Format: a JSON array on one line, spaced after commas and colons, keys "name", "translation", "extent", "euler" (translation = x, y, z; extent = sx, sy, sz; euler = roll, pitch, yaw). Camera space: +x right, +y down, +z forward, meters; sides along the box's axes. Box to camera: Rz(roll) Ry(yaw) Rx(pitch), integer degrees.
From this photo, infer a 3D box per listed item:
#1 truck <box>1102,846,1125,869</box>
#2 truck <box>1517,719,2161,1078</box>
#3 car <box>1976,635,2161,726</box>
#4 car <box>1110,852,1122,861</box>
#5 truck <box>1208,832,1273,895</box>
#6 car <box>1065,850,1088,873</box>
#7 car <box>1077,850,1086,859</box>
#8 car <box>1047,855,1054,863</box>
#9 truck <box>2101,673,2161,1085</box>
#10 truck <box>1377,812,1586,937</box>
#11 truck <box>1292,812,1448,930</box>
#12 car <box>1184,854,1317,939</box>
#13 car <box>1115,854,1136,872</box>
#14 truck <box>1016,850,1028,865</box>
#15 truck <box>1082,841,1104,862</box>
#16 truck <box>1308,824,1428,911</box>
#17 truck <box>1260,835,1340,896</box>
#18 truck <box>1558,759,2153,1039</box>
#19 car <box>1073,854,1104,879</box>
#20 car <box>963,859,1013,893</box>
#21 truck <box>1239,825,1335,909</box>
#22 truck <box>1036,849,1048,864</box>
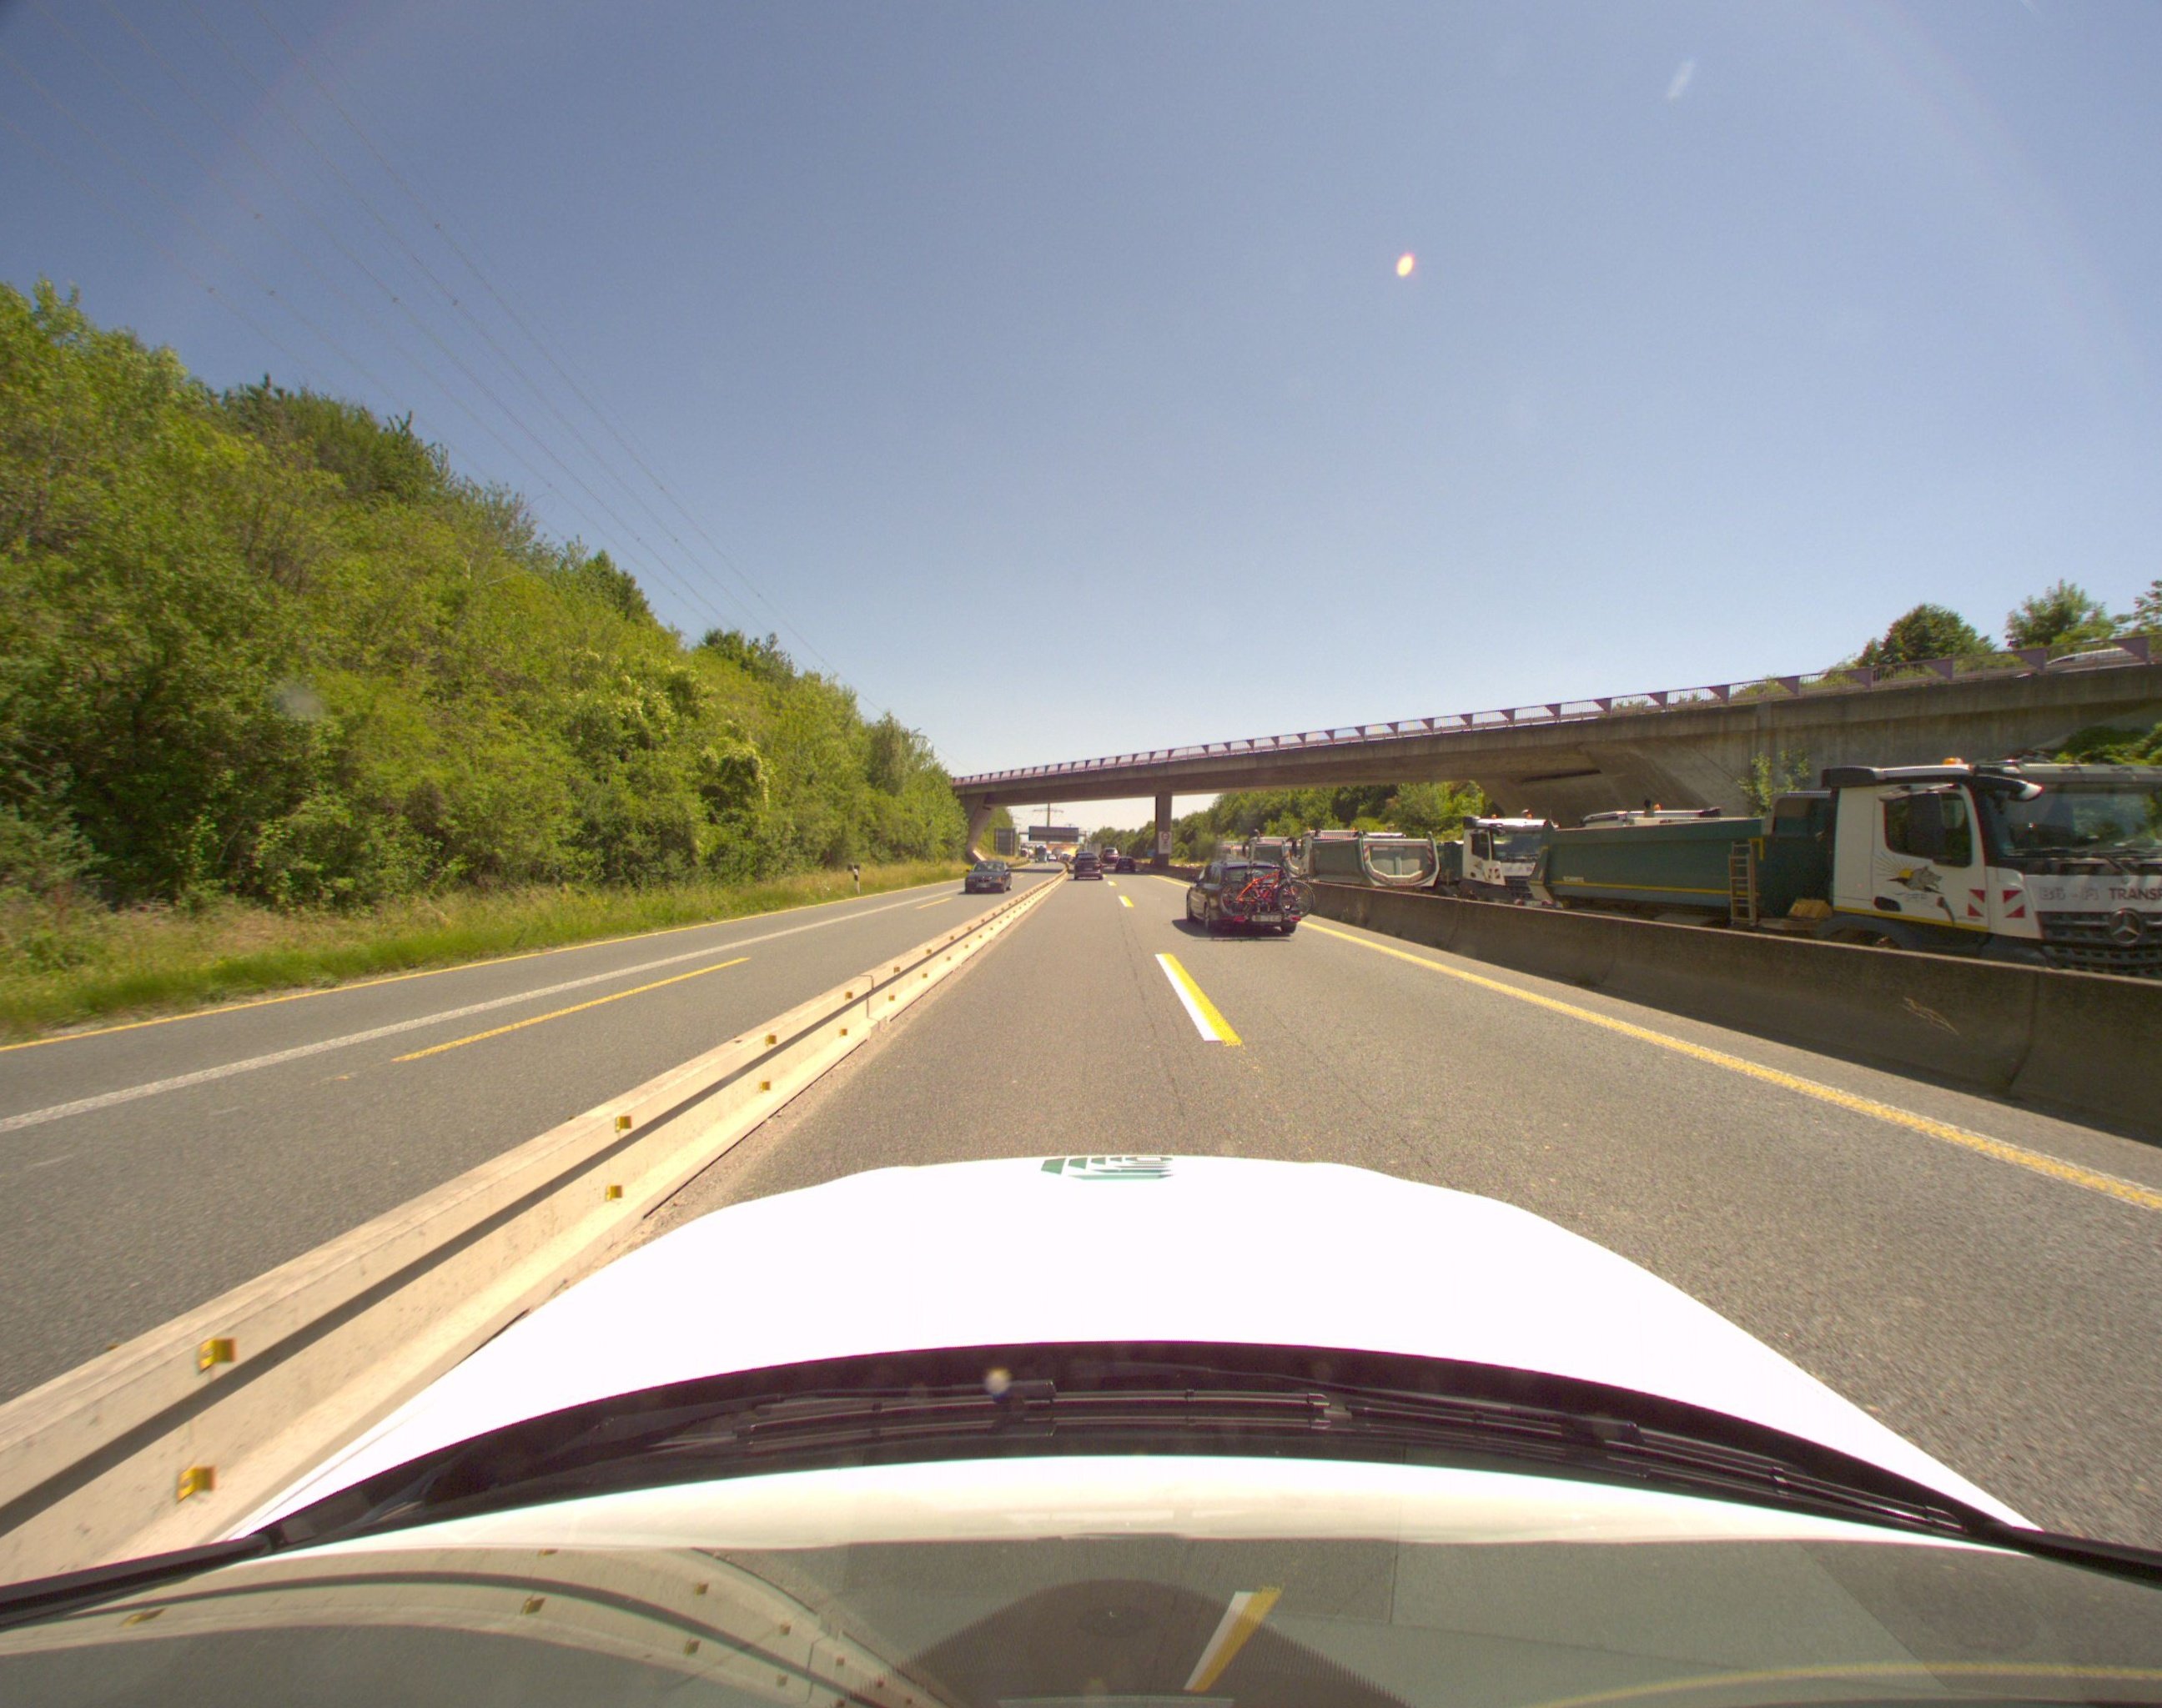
[{"name": "truck", "translation": [3.643, 0.377, 93.781], "extent": [2.397, 2.558, 7.500], "euler": [0, 0, 0]}, {"name": "truck", "translation": [10.605, 0.445, 12.730], "extent": [2.678, 3.557, 9.325], "euler": [0, 0, 1]}, {"name": "car", "translation": [39.857, -6.872, 32.894], "extent": [2.269, 2.540, 4.728], "euler": [1, -1, -35]}, {"name": "car", "translation": [6.082, 0.434, 142.181], "extent": [1.894, 1.585, 4.273], "euler": [0, 0, -2]}, {"name": "truck", "translation": [10.526, 0.599, 54.594], "extent": [2.678, 3.843, 9.326], "euler": [0, 0, 1]}, {"name": "car", "translation": [-0.360, 0.634, 72.748], "extent": [1.892, 1.968, 4.278], "euler": [0, 0, 2]}, {"name": "car", "translation": [0.084, 0.099, 187.911], "extent": [1.895, 1.968, 4.270], "euler": [0, 0, -4]}, {"name": "car", "translation": [-7.519, 1.165, 199.611], "extent": [1.759, 1.838, 3.995], "euler": [0, -1, -4]}, {"name": "truck", "translation": [10.622, 0.203, 2.783], "extent": [2.678, 3.557, 9.325], "euler": [0, 0, 1]}, {"name": "truck", "translation": [13.094, 0.592, 27.854], "extent": [2.678, 3.557, 9.325], "euler": [0, 0, 1]}, {"name": "truck", "translation": [10.370, 0.546, 30.500], "extent": [2.678, 3.761, 9.326], "euler": [0, 0, 1]}, {"name": "car", "translation": [3.270, 0.768, 16.706], "extent": [1.892, 1.490, 4.950], "euler": [0, -1, 2]}, {"name": "car", "translation": [4.028, 0.778, 74.377], "extent": [1.892, 1.585, 4.278], "euler": [0, 0, 2]}, {"name": "truck", "translation": [-13.090, 0.692, 180.401], "extent": [2.503, 3.186, 10.096], "euler": [0, 0, -3]}, {"name": "truck", "translation": [2.158, -0.477, 152.311], "extent": [3.285, 3.845, 10.096], "euler": [0, 0, -4]}, {"name": "truck", "translation": [13.688, 0.584, 39.848], "extent": [2.678, 3.727, 9.325], "euler": [0, 0, 1]}, {"name": "truck", "translation": [13.782, 0.691, 52.147], "extent": [2.678, 3.557, 9.325], "euler": [0, 0, 1]}, {"name": "truck", "translation": [13.171, 0.614, 15.641], "extent": [2.678, 3.761, 9.326], "euler": [0, 0, 1]}, {"name": "car", "translation": [0.548, 0.791, 52.821], "extent": [1.892, 1.505, 4.278], "euler": [0, 0, 2]}, {"name": "car", "translation": [-3.983, 0.936, 35.501], "extent": [1.668, 1.393, 4.071], "euler": [0, -1, 1]}, {"name": "truck", "translation": [10.347, 0.595, 41.981], "extent": [2.678, 3.856, 9.326], "euler": [0, 0, 1]}, {"name": "truck", "translation": [-8.908, 0.548, 185.487], "extent": [2.503, 3.186, 10.096], "euler": [0, 0, -3]}]
